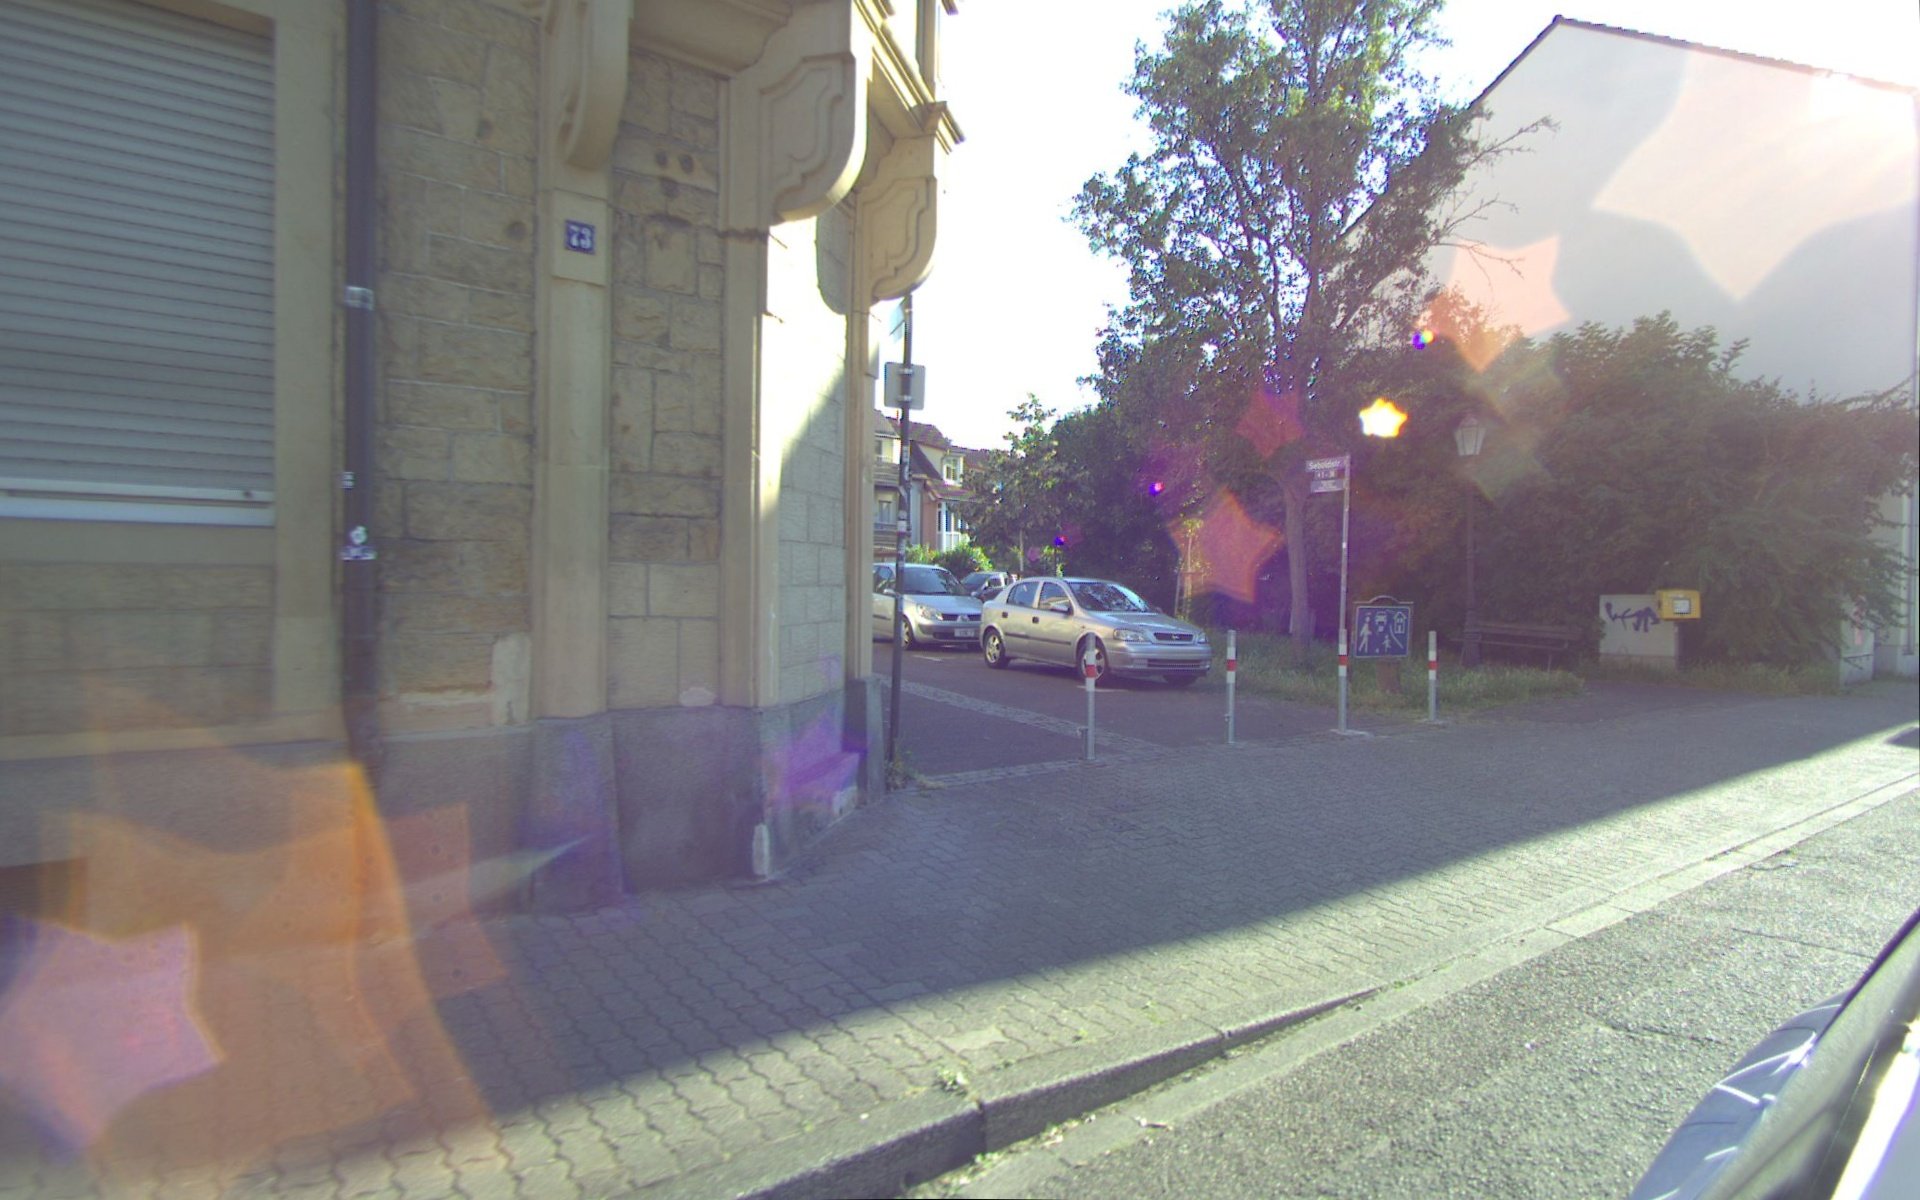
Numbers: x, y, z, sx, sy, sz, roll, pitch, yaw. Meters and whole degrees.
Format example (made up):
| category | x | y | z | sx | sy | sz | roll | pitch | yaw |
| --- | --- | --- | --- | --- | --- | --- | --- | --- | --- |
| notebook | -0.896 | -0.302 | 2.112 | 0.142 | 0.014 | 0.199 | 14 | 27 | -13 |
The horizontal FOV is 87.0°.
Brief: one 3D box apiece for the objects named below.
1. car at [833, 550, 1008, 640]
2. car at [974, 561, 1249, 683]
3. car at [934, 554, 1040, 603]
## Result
| category | x | y | z | sx | sy | sz | roll | pitch | yaw |
| --- | --- | --- | --- | --- | --- | --- | --- | --- | --- |
| car | -0.889 | -0.126 | 19.774 | 1.678 | 1.576 | 4.036 | 1 | 1 | -31 |
| car | 1.976 | 0.190 | 14.432 | 1.863 | 1.437 | 3.975 | 0 | 3 | -28 |
| car | 1.053 | -0.820 | 38.406 | 3.684 | 1.610 | 1.723 | -3 | -1 | -39 |
